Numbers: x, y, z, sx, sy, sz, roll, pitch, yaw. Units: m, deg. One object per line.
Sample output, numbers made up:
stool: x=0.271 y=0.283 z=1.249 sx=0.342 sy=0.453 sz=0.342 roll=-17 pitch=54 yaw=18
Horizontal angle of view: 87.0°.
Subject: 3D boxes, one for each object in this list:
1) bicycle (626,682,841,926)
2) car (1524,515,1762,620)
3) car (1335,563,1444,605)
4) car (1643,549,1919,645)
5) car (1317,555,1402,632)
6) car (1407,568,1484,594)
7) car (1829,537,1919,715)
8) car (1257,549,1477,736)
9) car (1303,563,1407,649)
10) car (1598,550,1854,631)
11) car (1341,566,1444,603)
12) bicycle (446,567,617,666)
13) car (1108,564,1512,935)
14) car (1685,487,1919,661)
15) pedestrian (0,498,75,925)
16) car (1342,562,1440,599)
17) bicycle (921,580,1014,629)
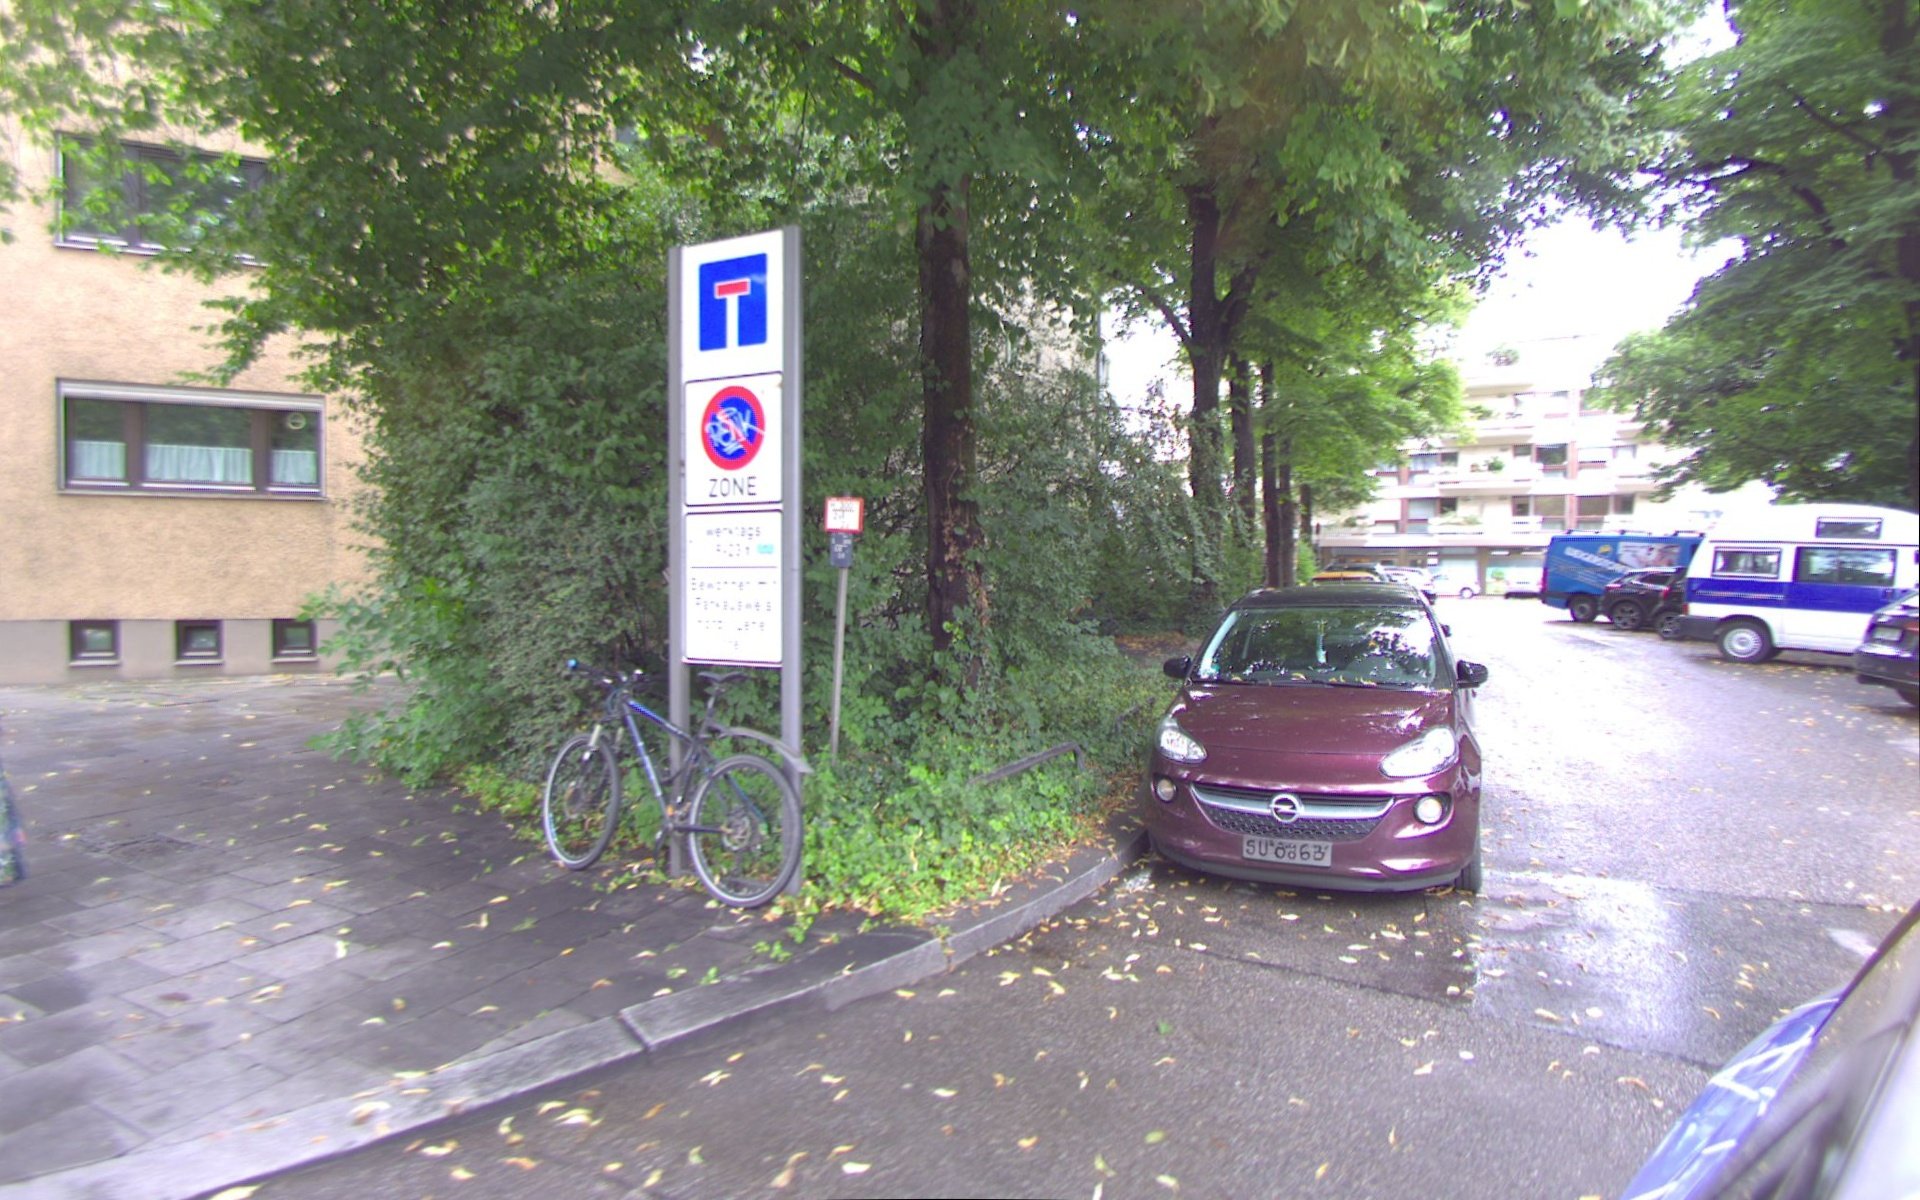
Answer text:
bicycle: x=-1.013 y=0.848 z=4.443 sx=1.071 sy=0.891 sz=0.247 roll=1 pitch=1 yaw=33
car: x=17.374 y=-0.819 z=26.008 sx=1.940 sy=2.441 sz=4.694 roll=-1 pitch=2 yaw=-32
car: x=15.950 y=-0.624 z=37.766 sx=3.646 sy=1.496 sz=1.843 roll=1 pitch=1 yaw=21
car: x=15.766 y=-0.118 z=19.316 sx=1.866 sy=1.623 sz=4.114 roll=-1 pitch=2 yaw=-29
car: x=9.344 y=-0.190 z=23.521 sx=1.679 sy=1.618 sz=4.075 roll=1 pitch=2 yaw=24
car: x=26.115 y=-1.052 z=54.568 sx=3.652 sy=1.373 sz=1.840 roll=1 pitch=2 yaw=25
car: x=11.001 y=0.237 z=9.249 sx=4.197 sy=1.619 sz=1.904 roll=1 pitch=1 yaw=23
car: x=4.146 y=0.286 z=10.399 sx=1.713 sy=1.515 sz=4.017 roll=1 pitch=2 yaw=22
car: x=7.424 y=0.042 z=19.250 sx=1.676 sy=1.456 sz=3.754 roll=1 pitch=2 yaw=19
car: x=16.785 y=-0.249 z=22.398 sx=1.866 sy=1.623 sz=4.114 roll=-1 pitch=2 yaw=-29
car: x=17.094 y=-0.647 z=40.219 sx=3.646 sy=1.410 sz=1.843 roll=1 pitch=1 yaw=21
bicycle: x=-5.861 y=0.167 z=14.053 sx=0.696 sy=1.232 sz=2.415 roll=1 pitch=2 yaw=22
car: x=2.283 y=0.556 z=6.178 sx=1.716 sy=1.515 sz=3.676 roll=1 pitch=2 yaw=26
car: x=13.242 y=-0.372 z=14.661 sx=1.872 sy=2.342 sz=4.172 roll=-1 pitch=2 yaw=-43
pedestrian: x=-4.177 y=0.430 z=4.026 sx=0.971 sy=1.644 sz=0.666 roll=0 pitch=0 yaw=27
car: x=17.990 y=-0.820 z=42.399 sx=3.646 sy=1.496 sz=1.843 roll=1 pitch=1 yaw=21
bicycle: x=0.145 y=0.072 z=19.701 sx=1.734 sy=0.924 sz=0.531 roll=0 pitch=1 yaw=15
